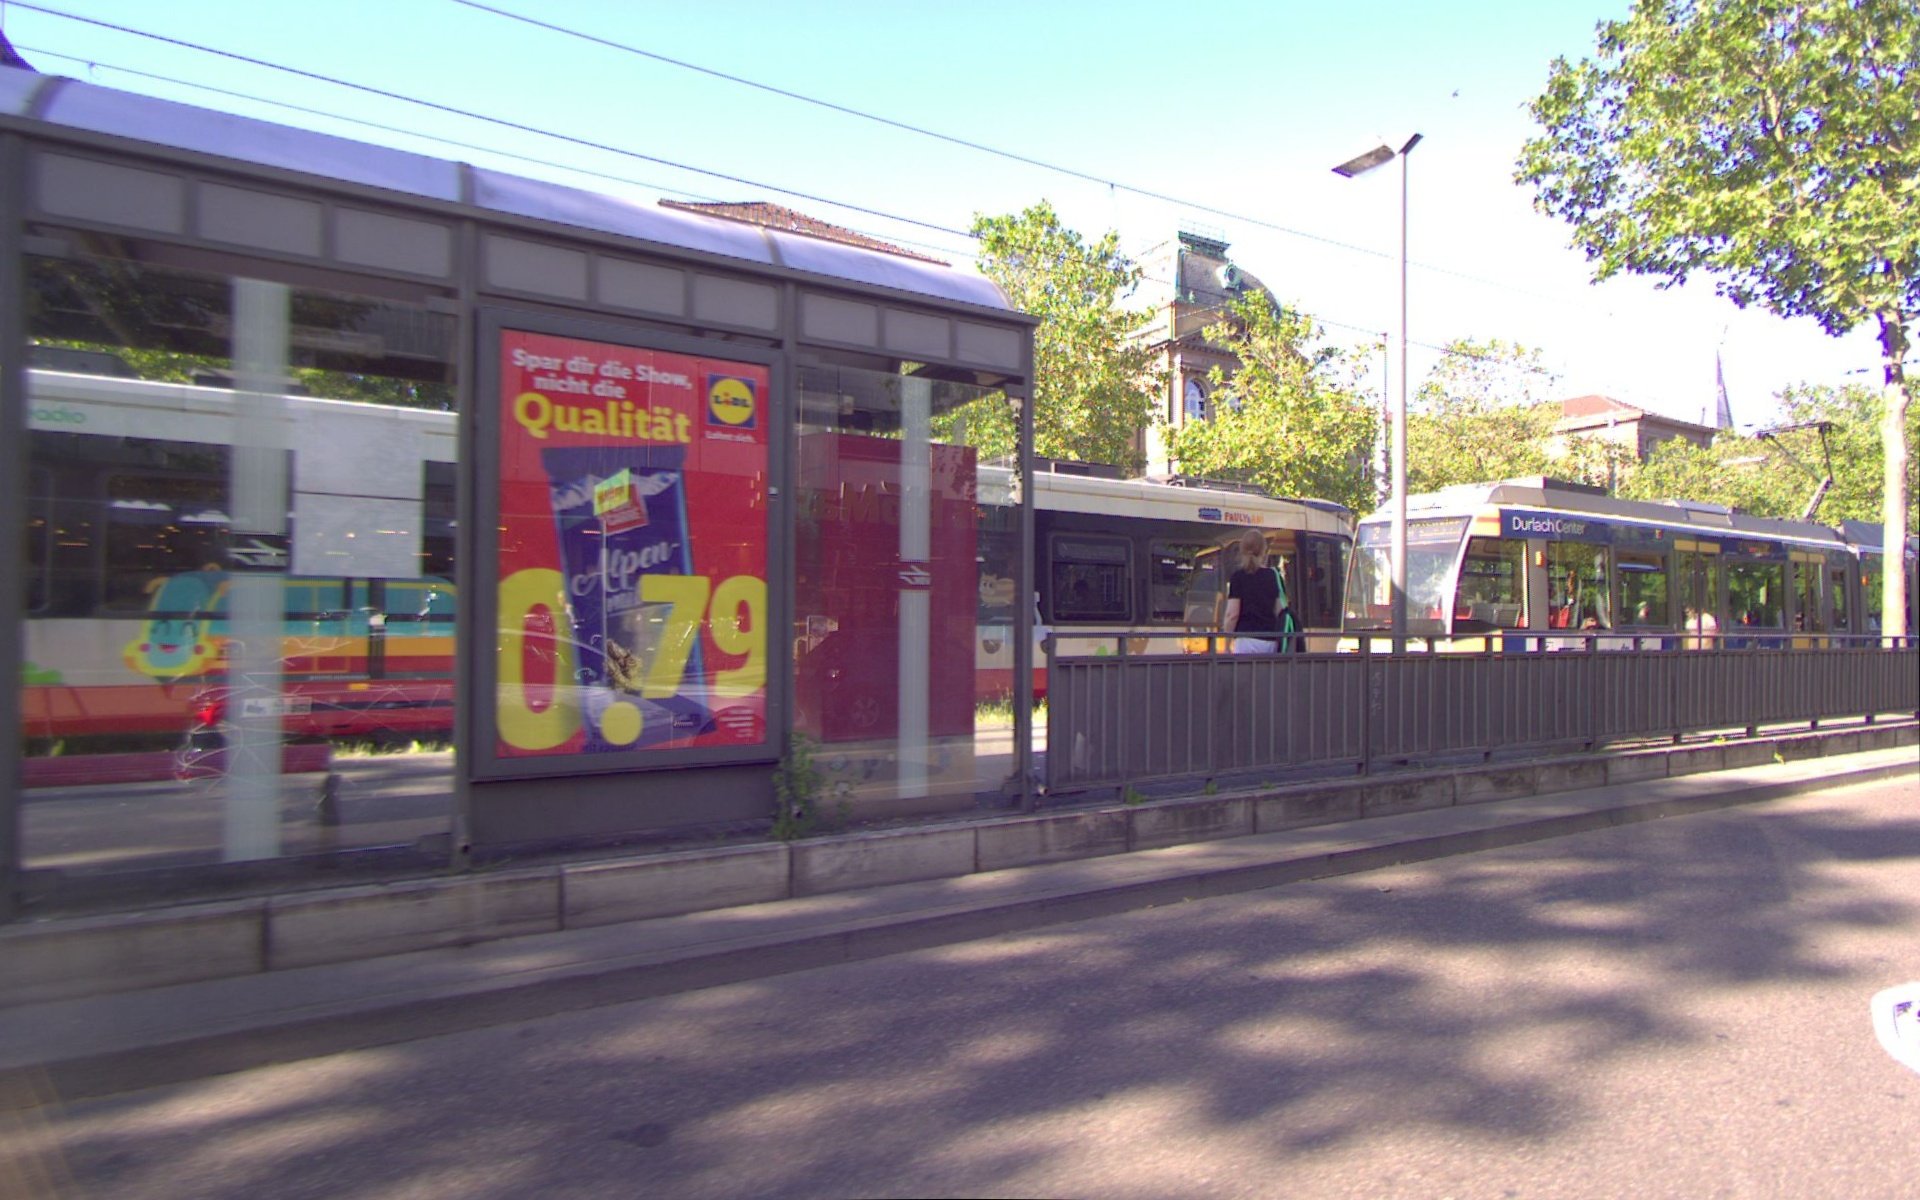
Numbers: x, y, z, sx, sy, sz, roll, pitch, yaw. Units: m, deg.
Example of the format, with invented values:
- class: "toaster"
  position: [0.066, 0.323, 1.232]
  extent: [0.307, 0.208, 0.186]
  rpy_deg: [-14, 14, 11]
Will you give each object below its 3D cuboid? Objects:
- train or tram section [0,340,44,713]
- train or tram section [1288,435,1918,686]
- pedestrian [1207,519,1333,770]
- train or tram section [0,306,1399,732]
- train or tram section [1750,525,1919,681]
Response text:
- class: "train or tram section"
  position: [-16.680, -0.835, 4.678]
  extent: [18.059, 3.480, 2.857]
  rpy_deg: [1, 0, -30]
- class: "train or tram section"
  position: [12.665, -0.245, 18.448]
  extent: [15.708, 3.303, 2.900]
  rpy_deg: [2, 0, -30]
- class: "pedestrian"
  position: [2.161, 0.300, 7.026]
  extent: [0.614, 1.661, 0.564]
  rpy_deg: [1, -1, -28]
- class: "train or tram section"
  position: [-1.023, -0.512, 13.807]
  extent: [17.998, 3.480, 2.835]
  rpy_deg: [1, 0, -30]
- class: "train or tram section"
  position: [24.995, 0.286, 25.738]
  extent: [12.960, 3.303, 2.900]
  rpy_deg: [2, 0, -30]
